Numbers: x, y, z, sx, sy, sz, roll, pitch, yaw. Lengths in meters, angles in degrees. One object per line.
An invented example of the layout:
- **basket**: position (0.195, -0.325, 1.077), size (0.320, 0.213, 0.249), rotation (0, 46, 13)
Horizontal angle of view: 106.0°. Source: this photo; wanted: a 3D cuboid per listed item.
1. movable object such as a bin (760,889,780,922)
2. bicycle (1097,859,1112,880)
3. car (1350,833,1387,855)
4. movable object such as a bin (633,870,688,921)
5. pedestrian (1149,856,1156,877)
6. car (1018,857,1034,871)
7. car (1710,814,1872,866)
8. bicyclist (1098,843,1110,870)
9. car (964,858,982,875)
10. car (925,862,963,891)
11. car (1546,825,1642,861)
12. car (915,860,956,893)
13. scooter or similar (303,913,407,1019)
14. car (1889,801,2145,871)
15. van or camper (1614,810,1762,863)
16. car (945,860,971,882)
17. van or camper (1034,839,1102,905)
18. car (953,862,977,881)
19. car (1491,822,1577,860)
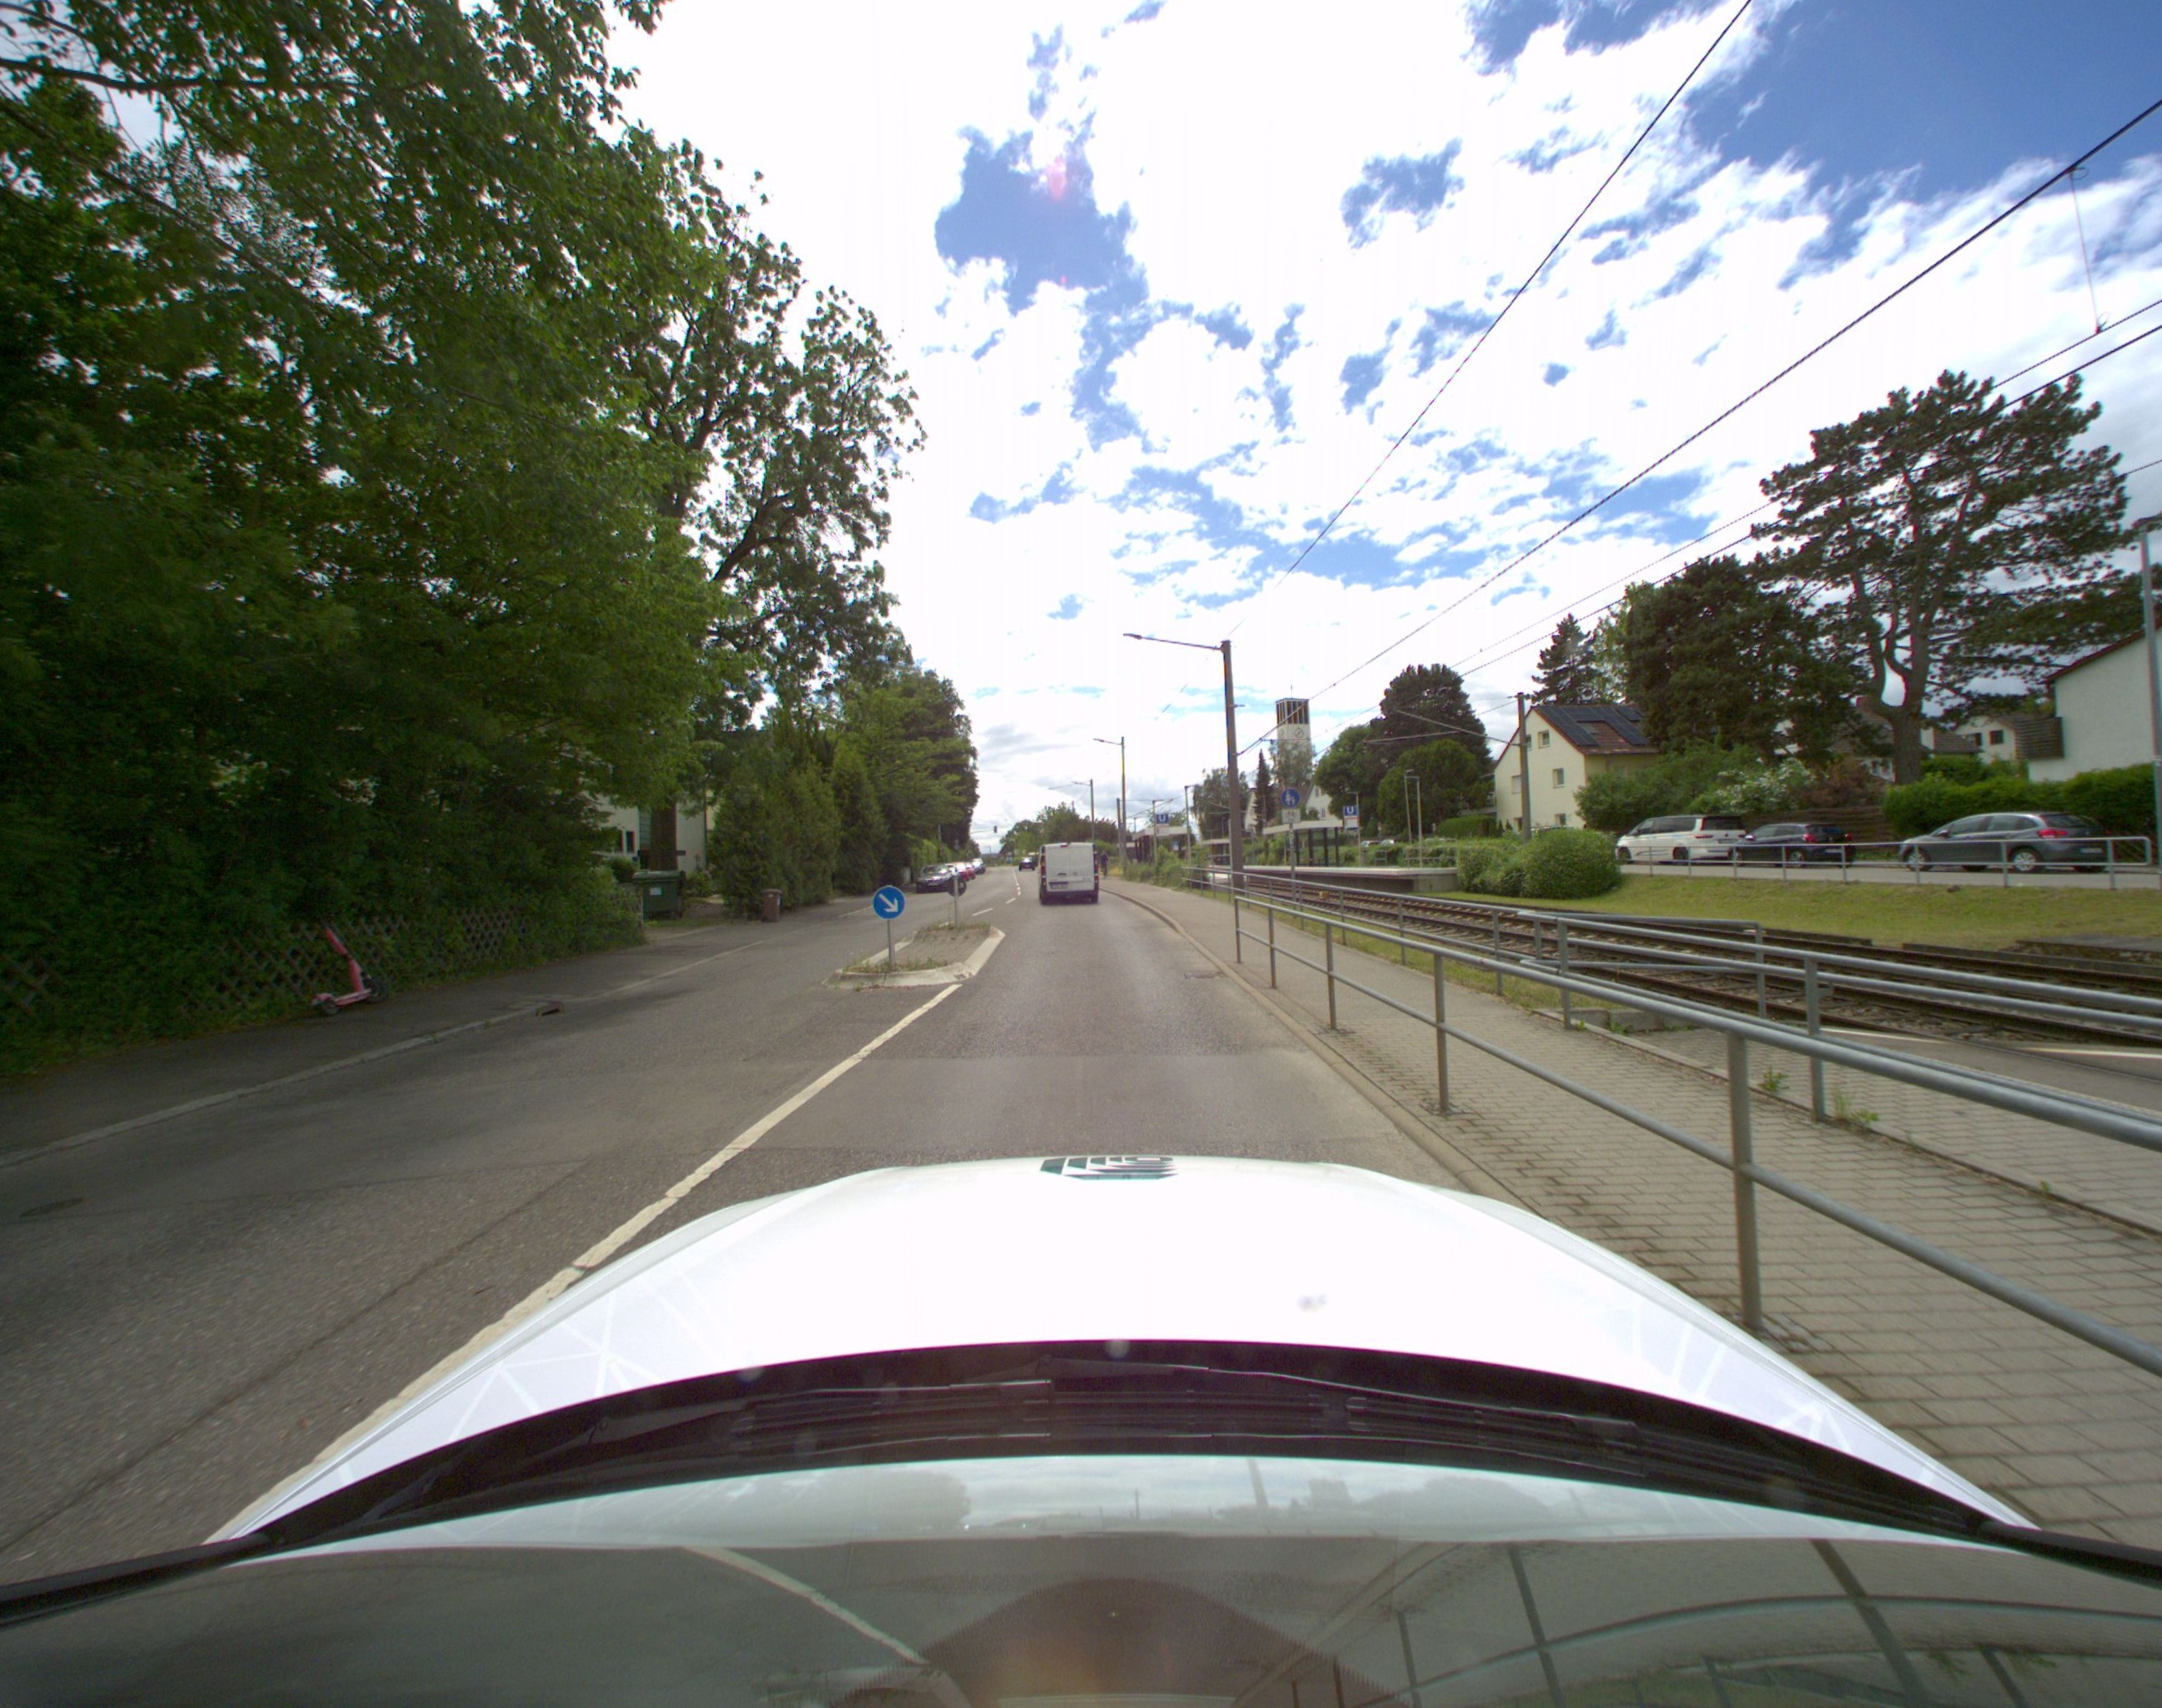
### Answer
- **movable object such as a bin**: position (-8.924, 1.472, 23.373), size (0.463, 0.930, 0.427), rotation (2, -2, -17)
- **bicycle**: position (1.450, 0.968, 51.407), size (0.617, 1.246, 2.391), rotation (-2, 0, -5)
- **car**: position (23.517, -0.788, 66.693), size (1.726, 1.751, 3.936), rotation (-1, 0, 1)
- **movable object such as a bin**: position (-12.360, 1.202, 23.979), size (1.276, 1.401, 0.893), rotation (-2, -1, -18)
- **pedestrian**: position (4.534, 0.787, 51.815), size (0.393, 1.344, 0.488), rotation (-2, 0, 7)
- **car**: position (-6.812, 1.277, 101.239), size (1.848, 1.648, 3.730), rotation (-2, 0, -3)
- **car**: position (23.303, -0.424, 26.948), size (1.877, 1.522, 4.001), rotation (-2, 0, 1)
- **bicyclist**: position (1.431, 0.172, 51.269), size (0.638, 1.650, 0.817), rotation (-2, 0, -6)
- **car**: position (-11.711, 1.346, 88.778), size (1.760, 1.625, 4.176), rotation (-3, 0, -7)
- **car**: position (-8.067, 1.295, 48.204), size (1.733, 1.505, 3.957), rotation (-4, 0, -4)
- **car**: position (23.428, -0.464, 37.384), size (1.877, 1.522, 4.001), rotation (-2, 0, 1)
- **car**: position (-7.575, 1.131, 42.739), size (1.735, 1.505, 4.468), rotation (-4, 0, -6)
- **scooter or similar**: position (-8.574, 1.284, 9.666), size (0.478, 1.081, 1.206), rotation (-1, -1, -19)
- **car**: position (23.366, -0.408, 20.607), size (1.877, 1.522, 4.001), rotation (-2, 0, 1)
- **van or camper**: position (23.285, -0.621, 31.554), size (1.899, 1.826, 5.046), rotation (-2, 0, 0)
- **car**: position (-9.102, 1.254, 60.547), size (1.586, 1.505, 3.509), rotation (-3, 0, -4)
- **van or camper**: position (-0.522, 0.580, 27.560), size (1.990, 2.014, 4.437), rotation (-1, -1, -5)
- **car**: position (-9.593, 1.422, 67.742), size (1.760, 1.471, 4.176), rotation (-3, 0, -7)
- **car**: position (27.766, -0.769, 49.959), size (4.322, 1.943, 1.743), rotation (-5, 0, -6)
